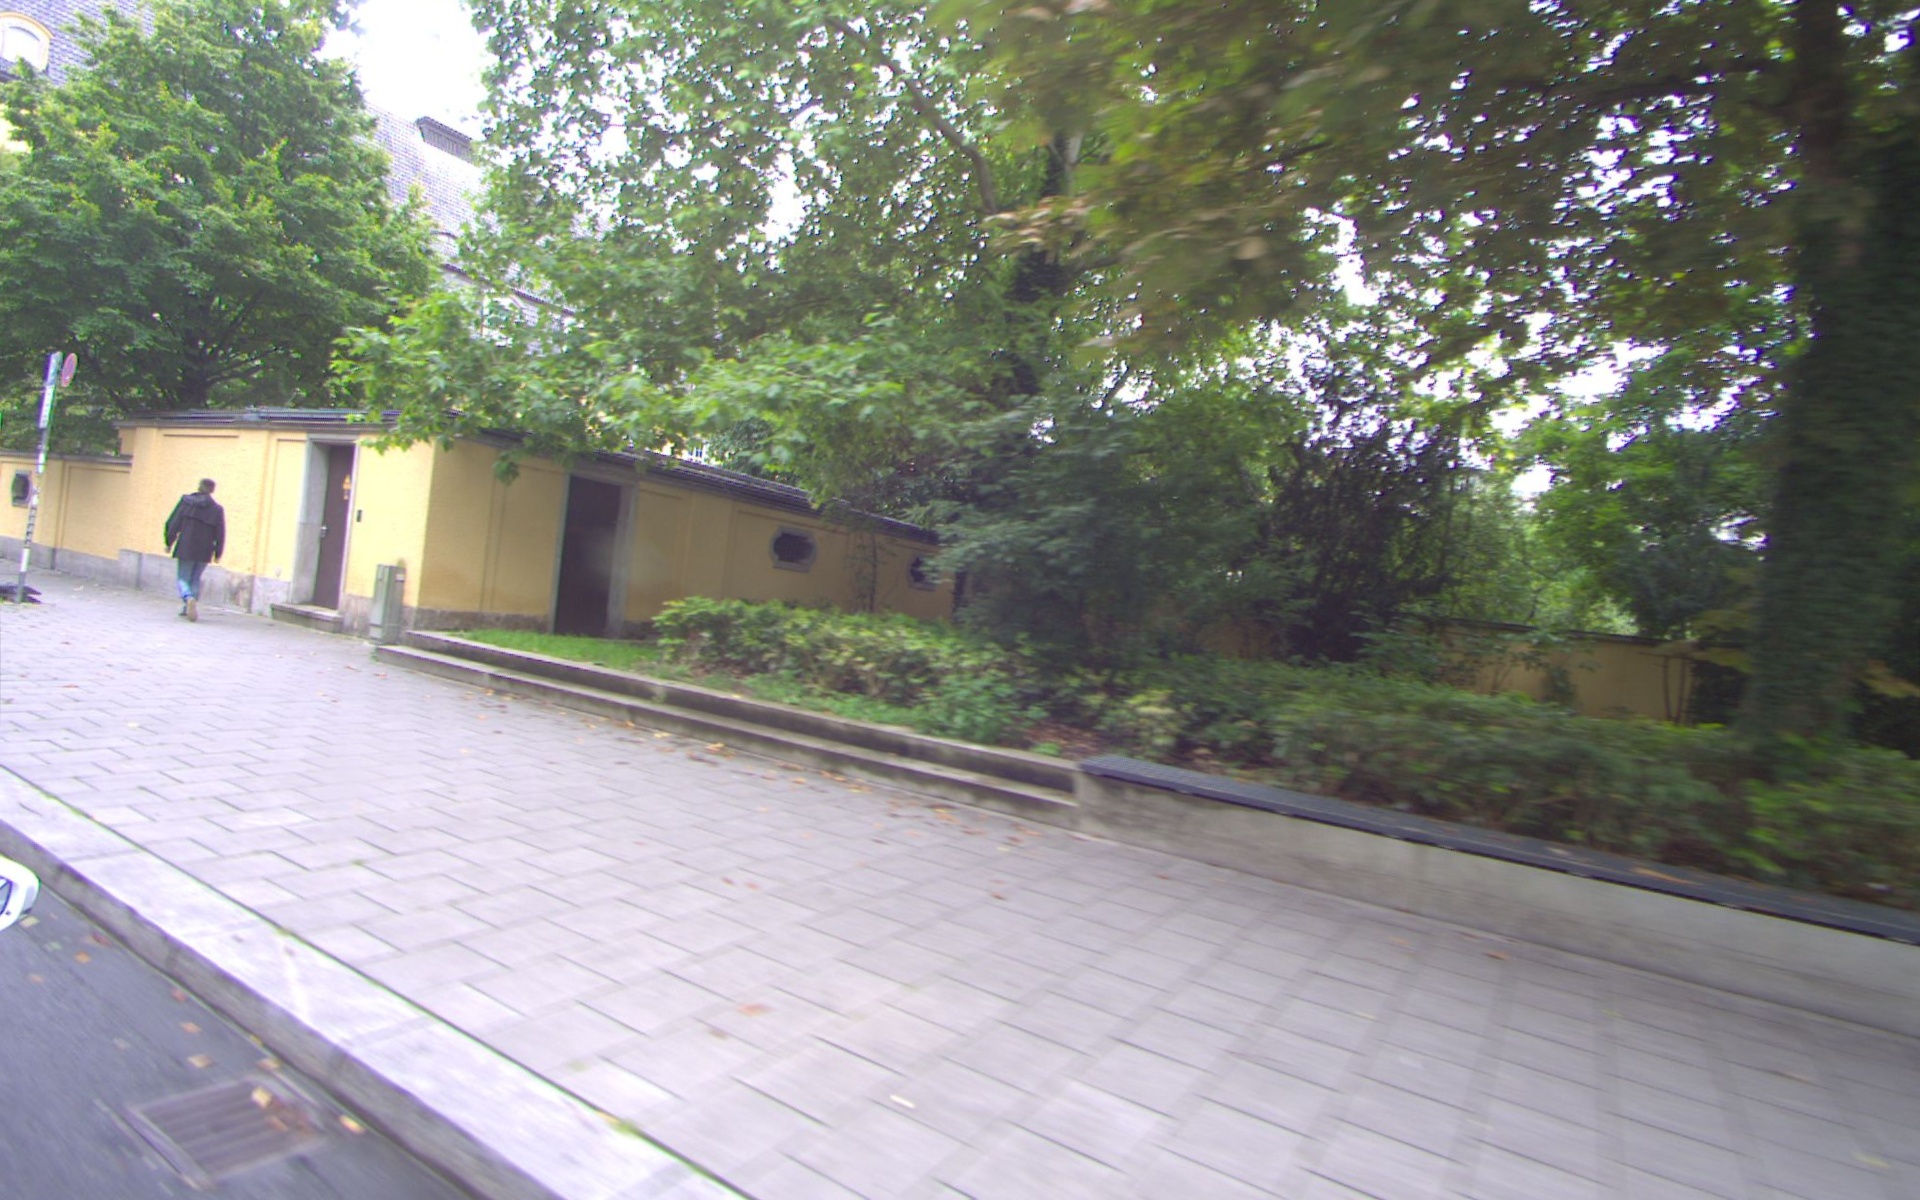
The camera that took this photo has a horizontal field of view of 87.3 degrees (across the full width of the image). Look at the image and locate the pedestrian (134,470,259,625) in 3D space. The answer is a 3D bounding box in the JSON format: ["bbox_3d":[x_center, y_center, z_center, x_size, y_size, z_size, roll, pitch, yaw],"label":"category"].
[{"bbox_3d":[-9.972,-0.677,13.142,1.035,1.854,0.874,7,1,33],"label":"pedestrian"}]
